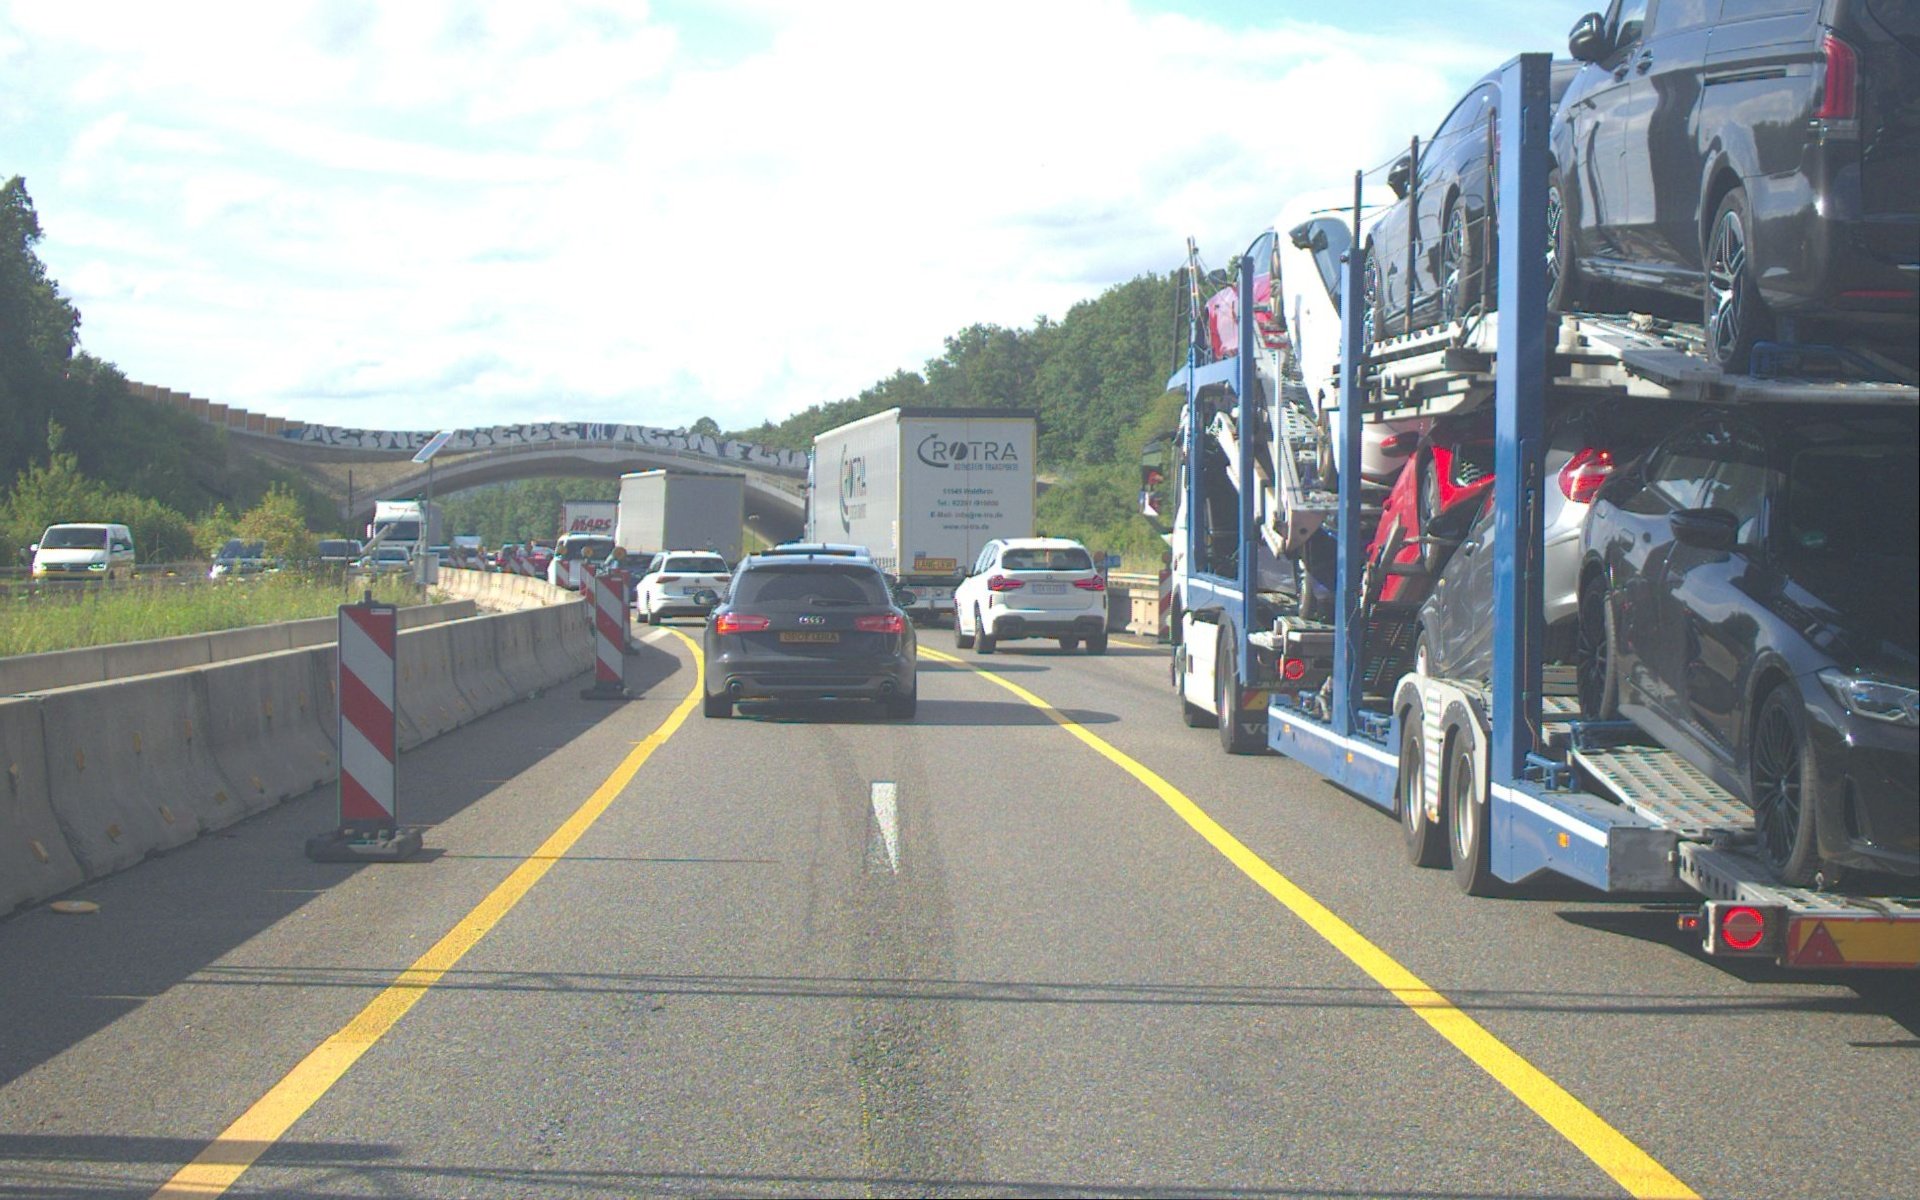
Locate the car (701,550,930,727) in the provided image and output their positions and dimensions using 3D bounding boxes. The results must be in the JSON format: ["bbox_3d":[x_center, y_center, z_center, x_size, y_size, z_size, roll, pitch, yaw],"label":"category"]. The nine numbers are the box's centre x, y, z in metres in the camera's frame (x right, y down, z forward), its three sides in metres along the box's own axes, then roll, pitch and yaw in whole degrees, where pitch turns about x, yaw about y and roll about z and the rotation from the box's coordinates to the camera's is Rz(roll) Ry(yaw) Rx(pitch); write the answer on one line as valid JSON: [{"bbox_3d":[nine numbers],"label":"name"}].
[{"bbox_3d":[-1.301,0.295,30.742,1.890,1.441,4.001,1,1,-3],"label":"car"}]

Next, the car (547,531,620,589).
[{"bbox_3d":[-11.064,-1.172,100.846,1.890,1.637,4.019,1,1,-9],"label":"car"}]

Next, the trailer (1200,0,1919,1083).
[{"bbox_3d":[3.865,-0.830,17.819,3.726,4.182,16.229,1,1,-1],"label":"trailer"}]

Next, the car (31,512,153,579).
[{"bbox_3d":[-21.773,-1.368,86.405,1.968,1.597,4.948,1,1,-2],"label":"car"}]

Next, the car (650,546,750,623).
[{"bbox_3d":[-5.138,-0.324,67.647,1.890,1.441,4.001,1,1,-5],"label":"car"}]

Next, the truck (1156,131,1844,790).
[{"bbox_3d":[3.702,-0.955,26.106,3.761,4.182,7.951,1,1,-1],"label":"truck"}]

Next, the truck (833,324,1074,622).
[{"bbox_3d":[-0.411,-2.431,70.543,3.677,5.335,16.204,1,1,-4],"label":"truck"}]

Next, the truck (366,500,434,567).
[{"bbox_3d":[-28.270,-3.327,173.826,2.756,3.287,5.814,1,1,-3],"label":"truck"}]

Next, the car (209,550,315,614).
[{"bbox_3d":[-18.473,-0.496,91.151,1.968,1.597,4.948,1,1,-2],"label":"car"}]

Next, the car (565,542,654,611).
[{"bbox_3d":[-8.760,-0.602,85.687,1.890,1.637,4.019,1,1,-10],"label":"car"}]

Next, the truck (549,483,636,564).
[{"bbox_3d":[-18.560,-3.821,172.860,3.653,3.915,11.070,1,1,-9],"label":"truck"}]

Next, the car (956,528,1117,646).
[{"bbox_3d":[1.086,-0.218,50.568,1.890,1.637,4.018,1,1,-5],"label":"car"}]

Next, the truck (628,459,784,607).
[{"bbox_3d":[-8.533,-2.198,113.914,4.318,4.584,11.128,1,1,-8],"label":"truck"}]

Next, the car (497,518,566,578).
[{"bbox_3d":[-14.819,-1.807,118.830,1.993,2.007,4.001,1,1,-12],"label":"car"}]
